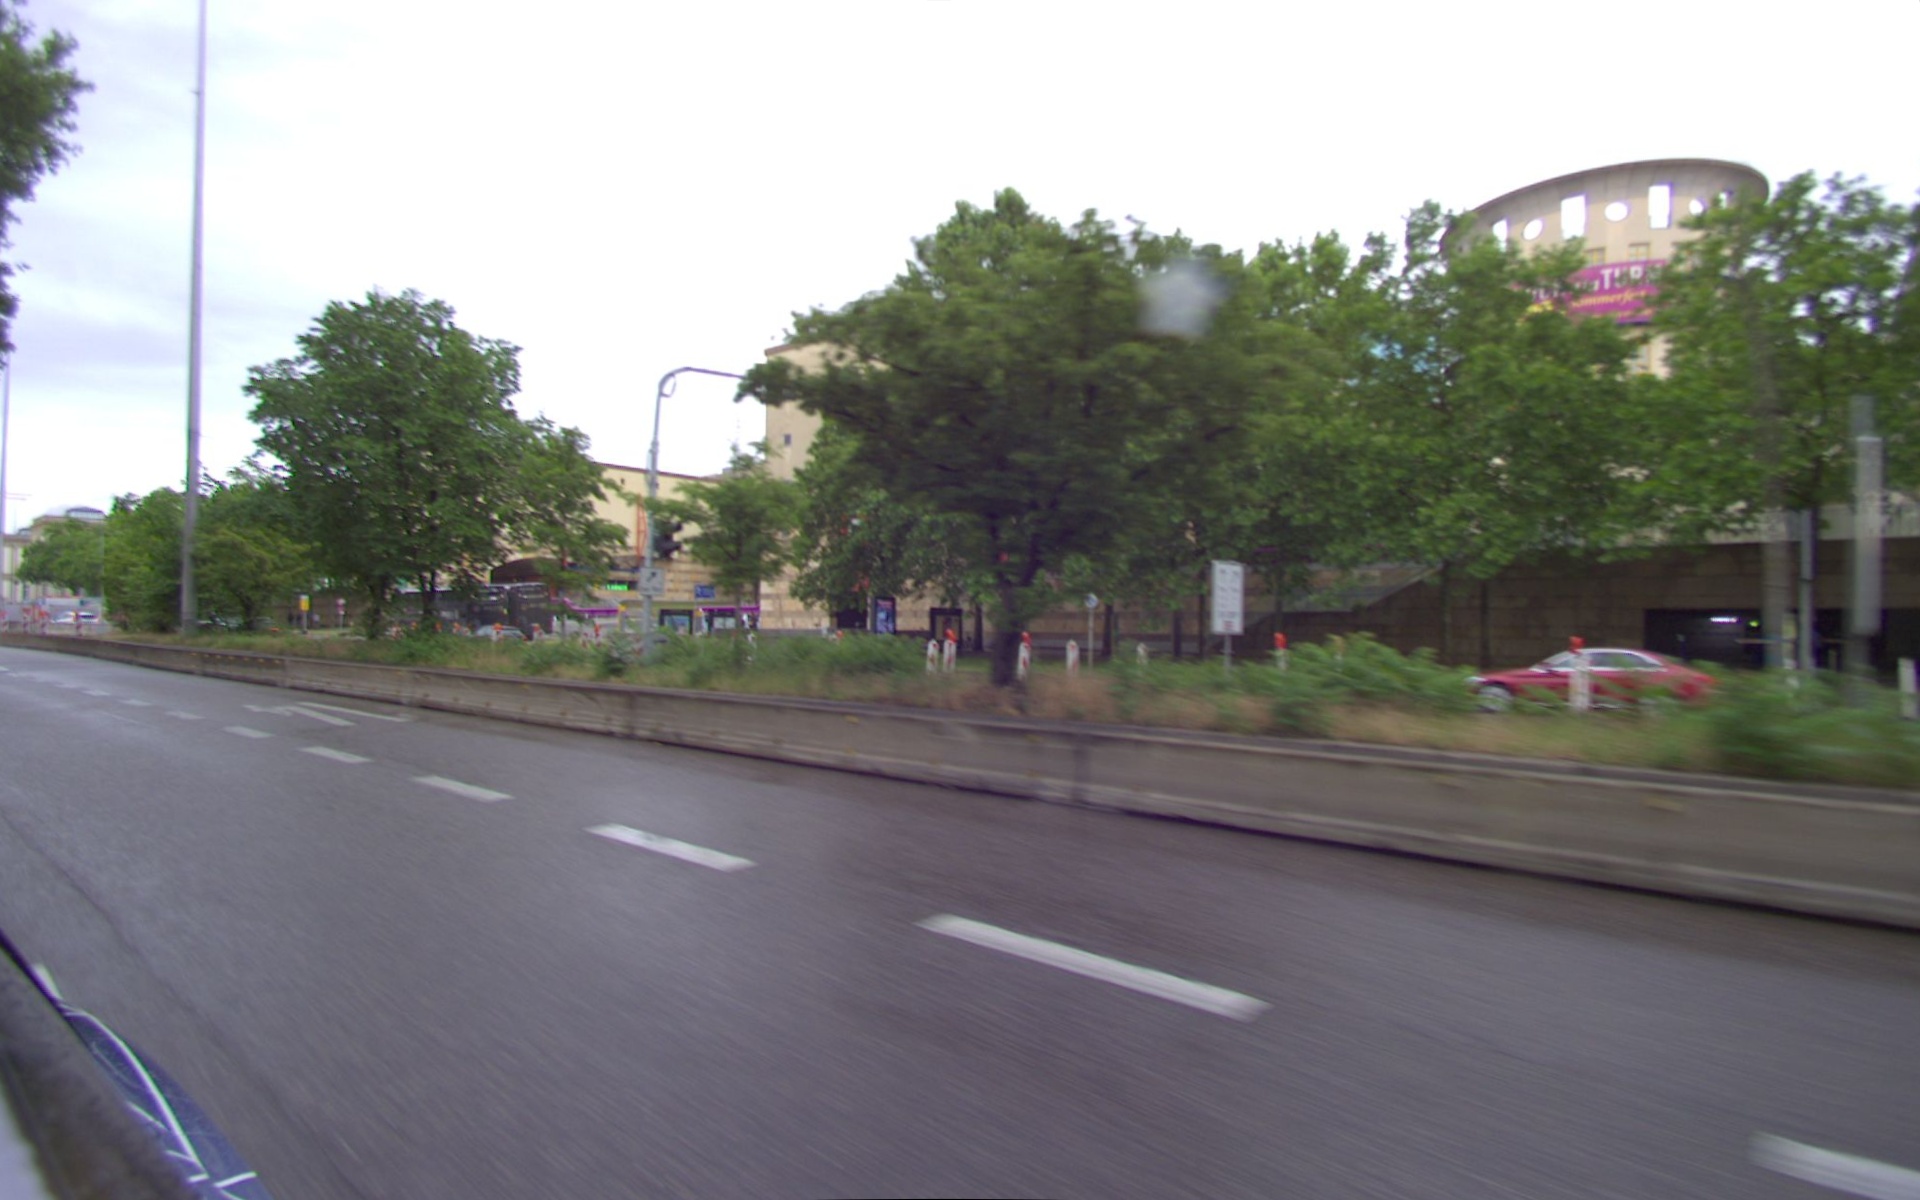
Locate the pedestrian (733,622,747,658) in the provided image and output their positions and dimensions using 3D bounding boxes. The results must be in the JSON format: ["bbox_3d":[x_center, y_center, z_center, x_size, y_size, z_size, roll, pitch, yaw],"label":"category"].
[{"bbox_3d":[-12.705,2.317,58.452,0.511,2.029,0.473,0,-3,40],"label":"pedestrian"}]

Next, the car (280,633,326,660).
[{"bbox_3d":[-45.058,3.152,69.399,3.209,1.511,1.577,5,2,37],"label":"car"}]

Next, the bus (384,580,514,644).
[{"bbox_3d":[-33.670,0.801,66.164,14.597,3.840,2.773,-1,-1,43],"label":"bus"}]

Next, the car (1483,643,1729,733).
[{"bbox_3d":[13.178,1.731,20.758,3.999,1.541,1.972,0,-3,42],"label":"car"}]

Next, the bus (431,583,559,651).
[{"bbox_3d":[-32.143,1.175,69.437,13.493,4.284,3.085,-1,-1,43],"label":"bus"}]

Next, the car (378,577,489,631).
[{"bbox_3d":[-15.683,0.156,30.055,3.928,1.519,1.529,-1,-2,40],"label":"car"}]
